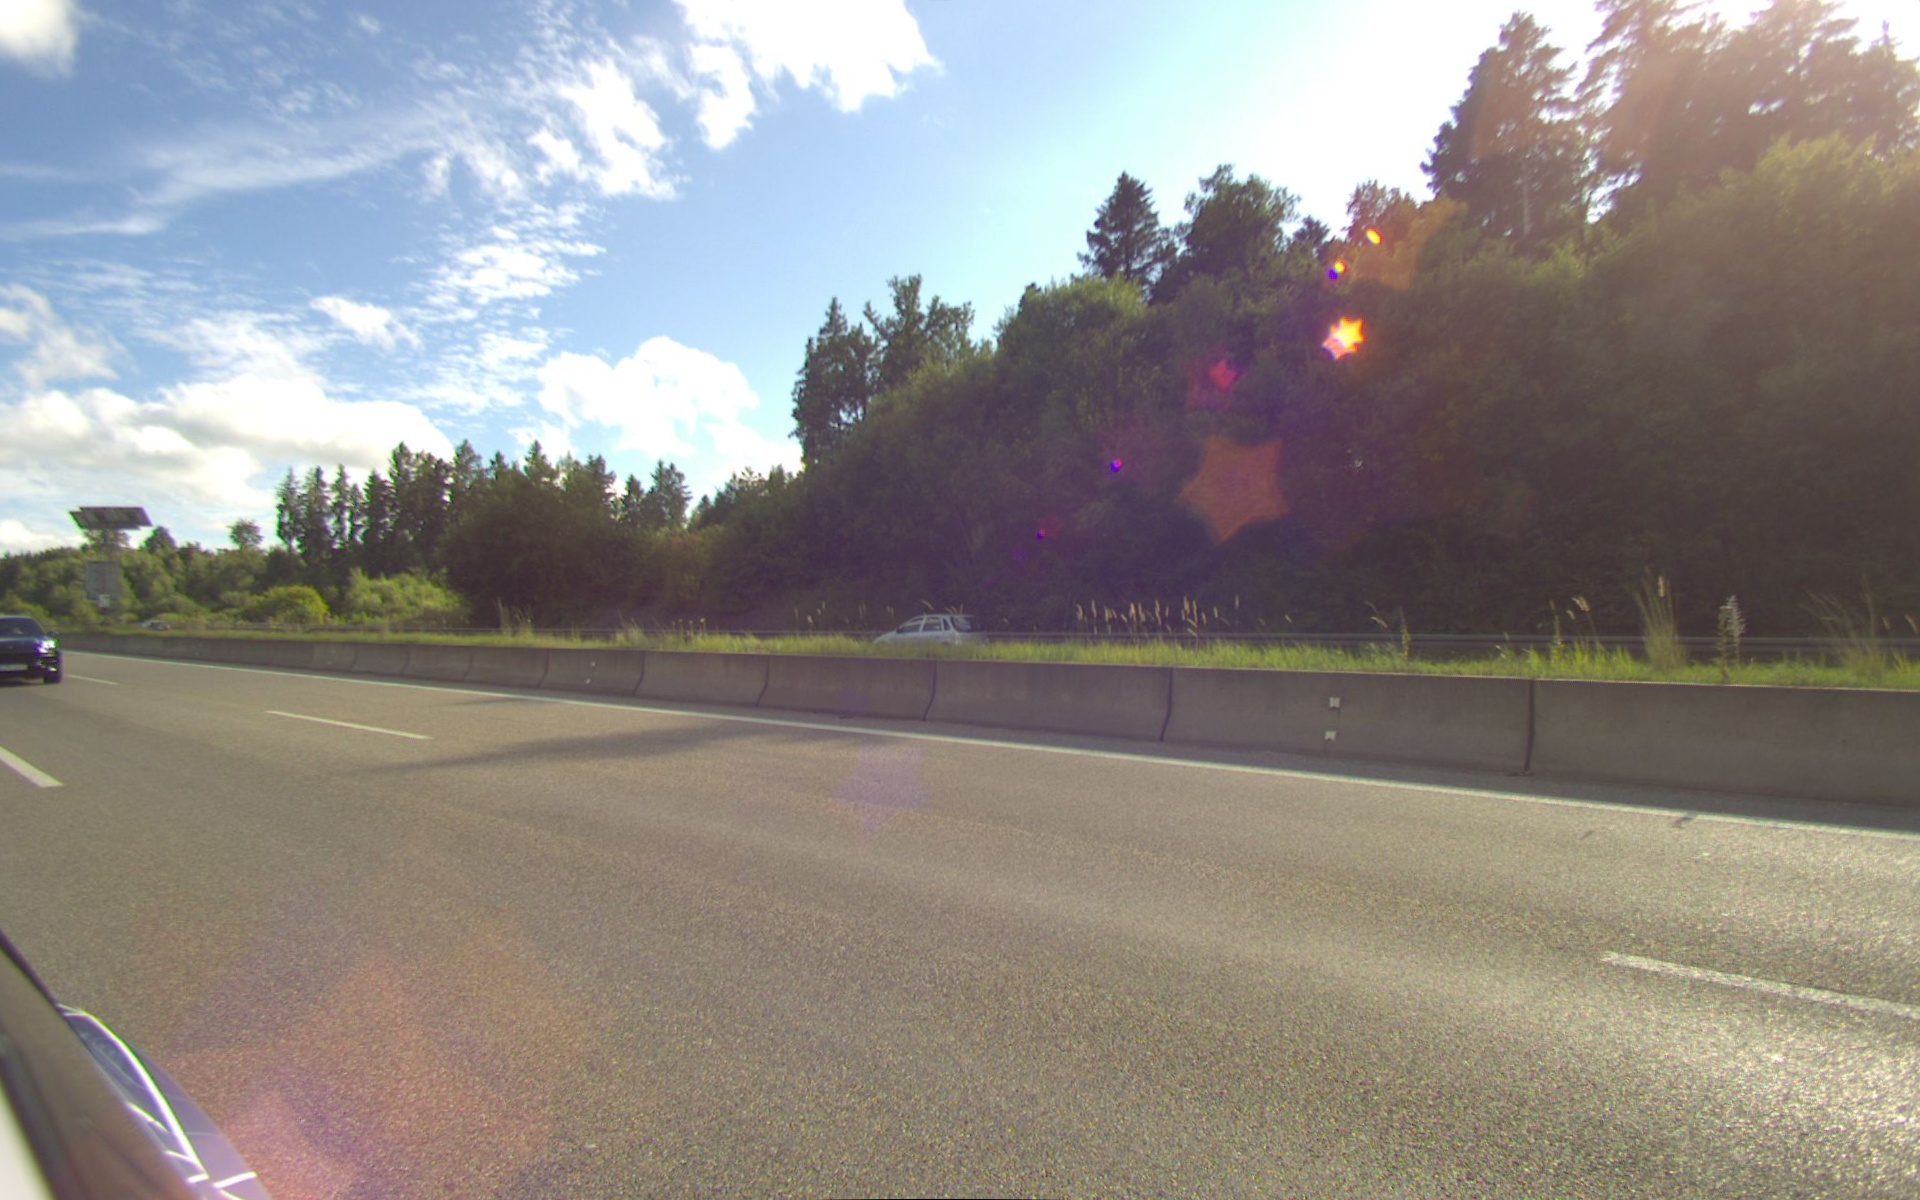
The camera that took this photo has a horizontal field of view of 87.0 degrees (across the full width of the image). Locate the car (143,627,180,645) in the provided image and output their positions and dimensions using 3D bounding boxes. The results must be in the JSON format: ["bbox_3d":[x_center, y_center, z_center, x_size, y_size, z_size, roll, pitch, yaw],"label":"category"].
[{"bbox_3d":[-74.355,3.317,94.175,4.567,1.640,1.860,-2,-1,40],"label":"car"}]

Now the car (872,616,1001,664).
[{"bbox_3d":[-0.733,1.153,30.023,3.542,1.300,1.797,-2,-1,41],"label":"car"}]

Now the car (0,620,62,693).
[{"bbox_3d":[-23.153,1.317,24.231,4.385,1.630,1.936,-2,-1,41],"label":"car"}]
